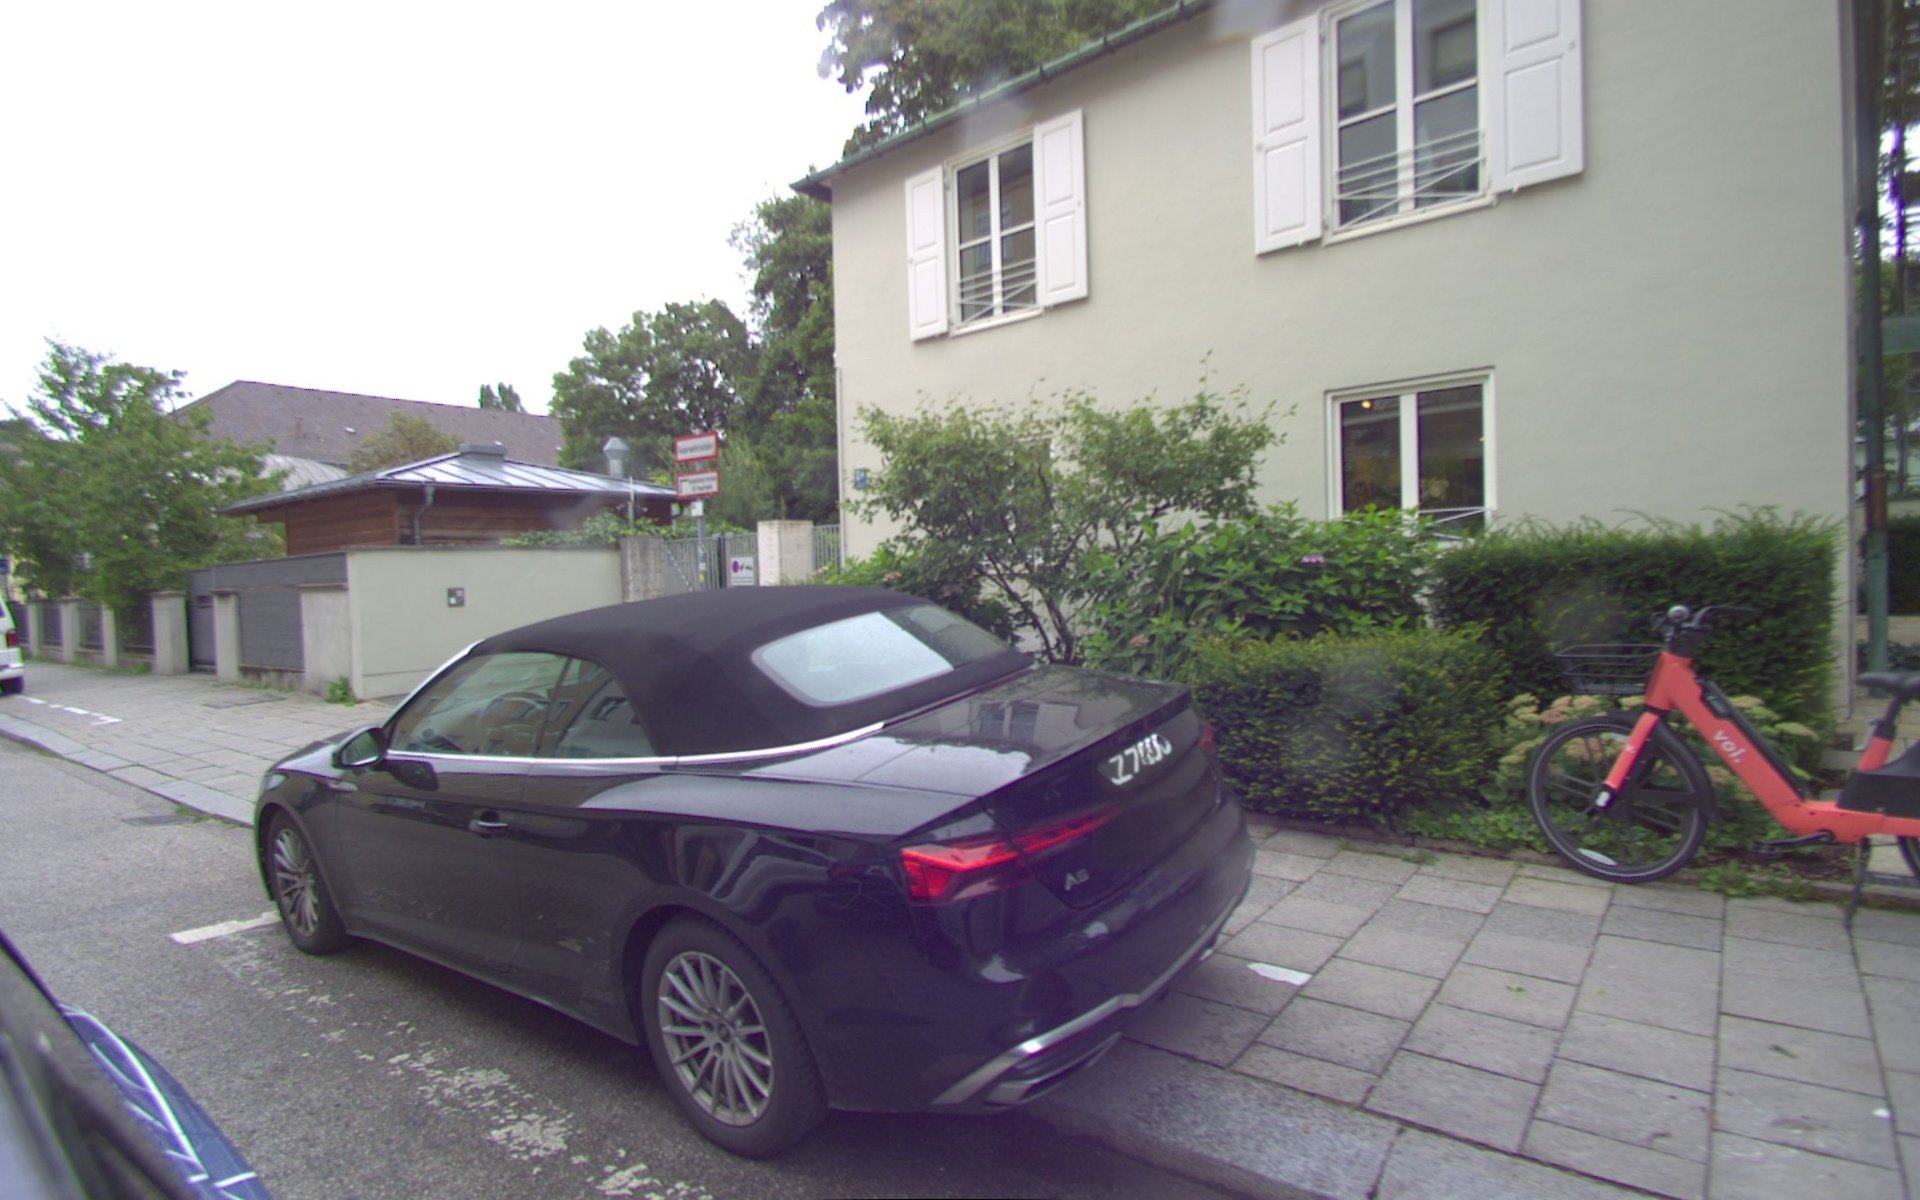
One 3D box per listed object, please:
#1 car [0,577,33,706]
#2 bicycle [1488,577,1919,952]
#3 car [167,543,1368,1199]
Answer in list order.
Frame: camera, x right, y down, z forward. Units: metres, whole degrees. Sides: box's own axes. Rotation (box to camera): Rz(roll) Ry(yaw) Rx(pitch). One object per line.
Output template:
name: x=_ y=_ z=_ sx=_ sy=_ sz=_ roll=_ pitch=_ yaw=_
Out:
car: x=-17.495 y=0.734 z=16.868 sx=5.142 sy=2.005 sz=1.949 roll=-1 pitch=3 yaw=36
bicycle: x=3.030 y=0.504 z=3.467 sx=0.642 sy=1.139 sz=2.049 roll=-3 pitch=1 yaw=-44
car: x=-1.187 y=0.620 z=4.033 sx=4.914 sy=1.412 sz=1.791 roll=-1 pitch=3 yaw=36
